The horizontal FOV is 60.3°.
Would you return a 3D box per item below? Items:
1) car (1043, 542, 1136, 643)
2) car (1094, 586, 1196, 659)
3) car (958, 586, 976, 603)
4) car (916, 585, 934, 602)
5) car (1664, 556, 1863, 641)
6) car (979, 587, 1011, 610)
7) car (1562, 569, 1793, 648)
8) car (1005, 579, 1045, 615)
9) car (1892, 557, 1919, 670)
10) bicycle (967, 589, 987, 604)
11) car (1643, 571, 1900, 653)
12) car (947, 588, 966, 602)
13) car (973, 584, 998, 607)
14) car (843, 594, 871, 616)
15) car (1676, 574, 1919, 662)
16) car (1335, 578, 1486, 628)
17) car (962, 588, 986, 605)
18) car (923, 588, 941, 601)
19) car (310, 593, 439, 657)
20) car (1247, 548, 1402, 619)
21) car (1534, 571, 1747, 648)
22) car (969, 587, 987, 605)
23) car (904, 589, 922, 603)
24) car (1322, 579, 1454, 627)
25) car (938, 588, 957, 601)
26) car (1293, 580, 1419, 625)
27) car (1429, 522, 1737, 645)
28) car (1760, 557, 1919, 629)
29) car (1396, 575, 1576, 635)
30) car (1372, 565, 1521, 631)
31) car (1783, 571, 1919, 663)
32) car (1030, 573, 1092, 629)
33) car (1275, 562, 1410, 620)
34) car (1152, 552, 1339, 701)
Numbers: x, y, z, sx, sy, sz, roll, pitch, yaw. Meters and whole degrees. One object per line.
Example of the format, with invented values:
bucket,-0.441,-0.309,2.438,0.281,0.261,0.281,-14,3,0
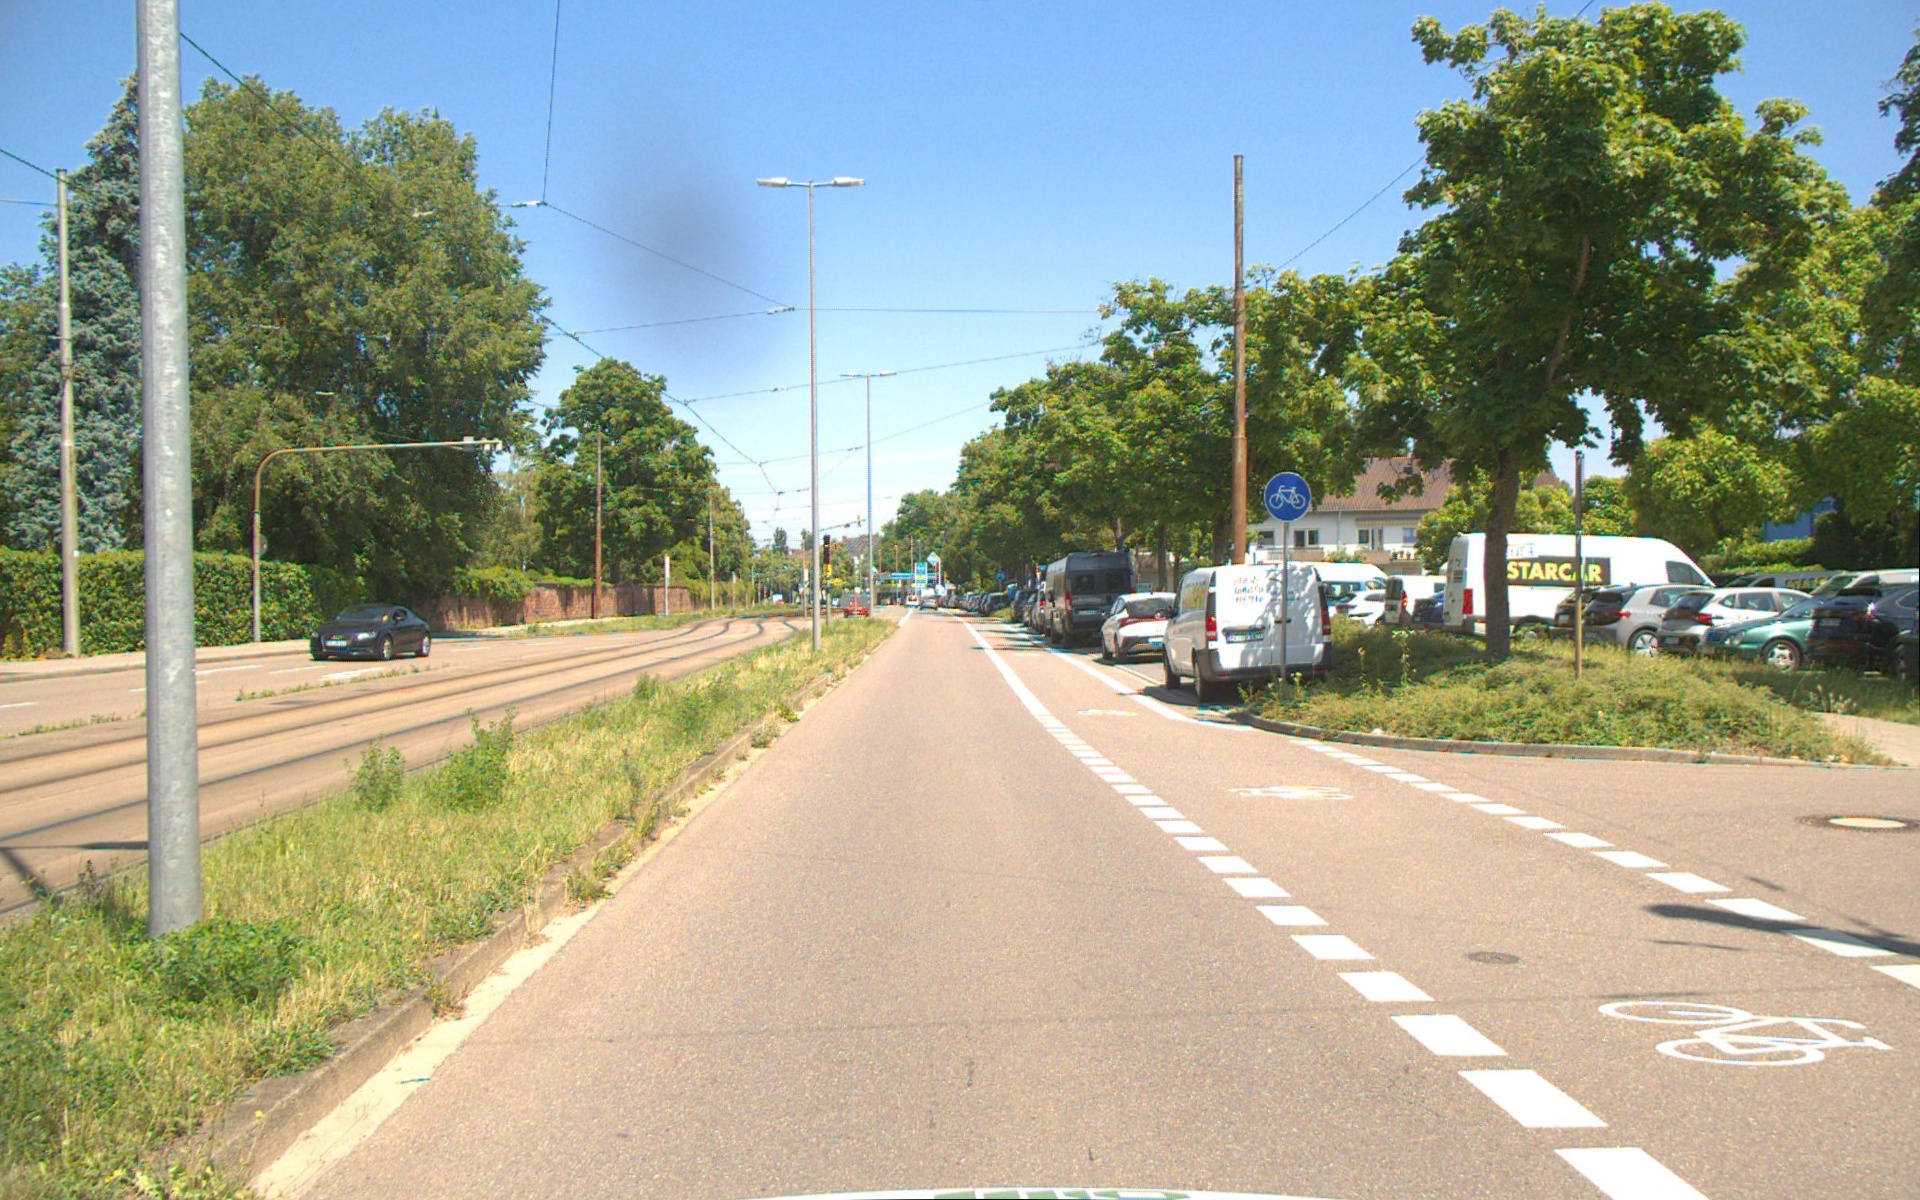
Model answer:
car,3.705,-0.236,48.355,1.957,2.682,6.077,-3,1,-2
car,4.085,0.457,37.096,1.687,1.453,4.208,-3,0,-1
car,0.794,-0.614,181.862,1.803,1.723,4.777,-3,1,-1
car,-3.539,-0.683,167.990,1.720,1.659,4.322,-3,1,-2
car,25.955,-0.063,53.571,5.379,2.502,2.094,-2,0,-1
car,2.435,-0.119,116.208,1.804,1.461,4.821,-3,1,-3
car,14.057,0.158,32.485,3.812,1.404,1.725,2,0,-8
car,3.309,-0.144,84.589,1.678,1.661,4.707,-3,0,-2
car,14.998,0.239,22.145,4.115,1.516,1.678,2,0,-3
bicycle,1.601,-0.293,153.673,1.737,1.249,0.684,-5,0,3
car,14.678,0.203,30.043,3.808,1.348,1.727,2,0,-3
car,-0.444,-0.628,198.684,1.674,1.518,5.033,-3,1,-5
car,2.052,-0.404,133.802,1.803,1.736,4.626,-3,1,0
car,-7.130,0.343,114.541,1.671,1.438,4.282,0,1,0
car,14.224,0.295,27.597,3.808,1.348,1.727,2,0,-3
car,13.976,0.089,51.446,4.192,1.430,1.726,2,0,-4
car,1.348,-0.386,160.712,1.804,1.556,4.962,-3,1,-4
car,-3.883,-0.756,225.655,1.724,1.659,4.313,-3,1,-10
car,-14.534,0.578,41.290,1.719,1.474,4.123,1,0,0
car,13.731,-0.611,62.521,5.378,2.502,2.094,2,0,-1
car,14.457,0.202,35.231,3.809,1.497,1.726,2,0,-4
car,1.700,-0.370,155.714,1.488,1.556,3.815,-3,1,-1
car,-6.110,-0.498,212.484,1.723,1.659,4.315,-3,1,-9
car,14.028,0.088,54.307,3.809,1.430,1.726,2,0,-4
car,-1.591,-0.679,209.831,1.676,1.589,4.313,-3,1,-11
car,13.534,0.088,56.615,3.811,1.430,1.726,2,0,-6
car,14.253,-0.376,38.120,6.209,2.573,2.264,2,0,1
car,26.460,-0.230,48.488,4.993,1.909,2.094,-2,0,-1
car,14.584,0.135,45.998,4.320,1.532,1.952,2,0,-5
car,14.253,-0.062,48.580,3.706,1.815,1.952,2,0,-6
car,14.660,0.279,24.774,3.808,1.303,1.727,2,0,-3
car,3.737,0.006,61.995,1.957,1.911,5.276,-3,1,0
car,13.735,-0.321,59.527,4.321,1.942,1.952,2,0,-6
car,4.227,0.333,25.343,1.841,1.950,5.124,-3,1,-1
